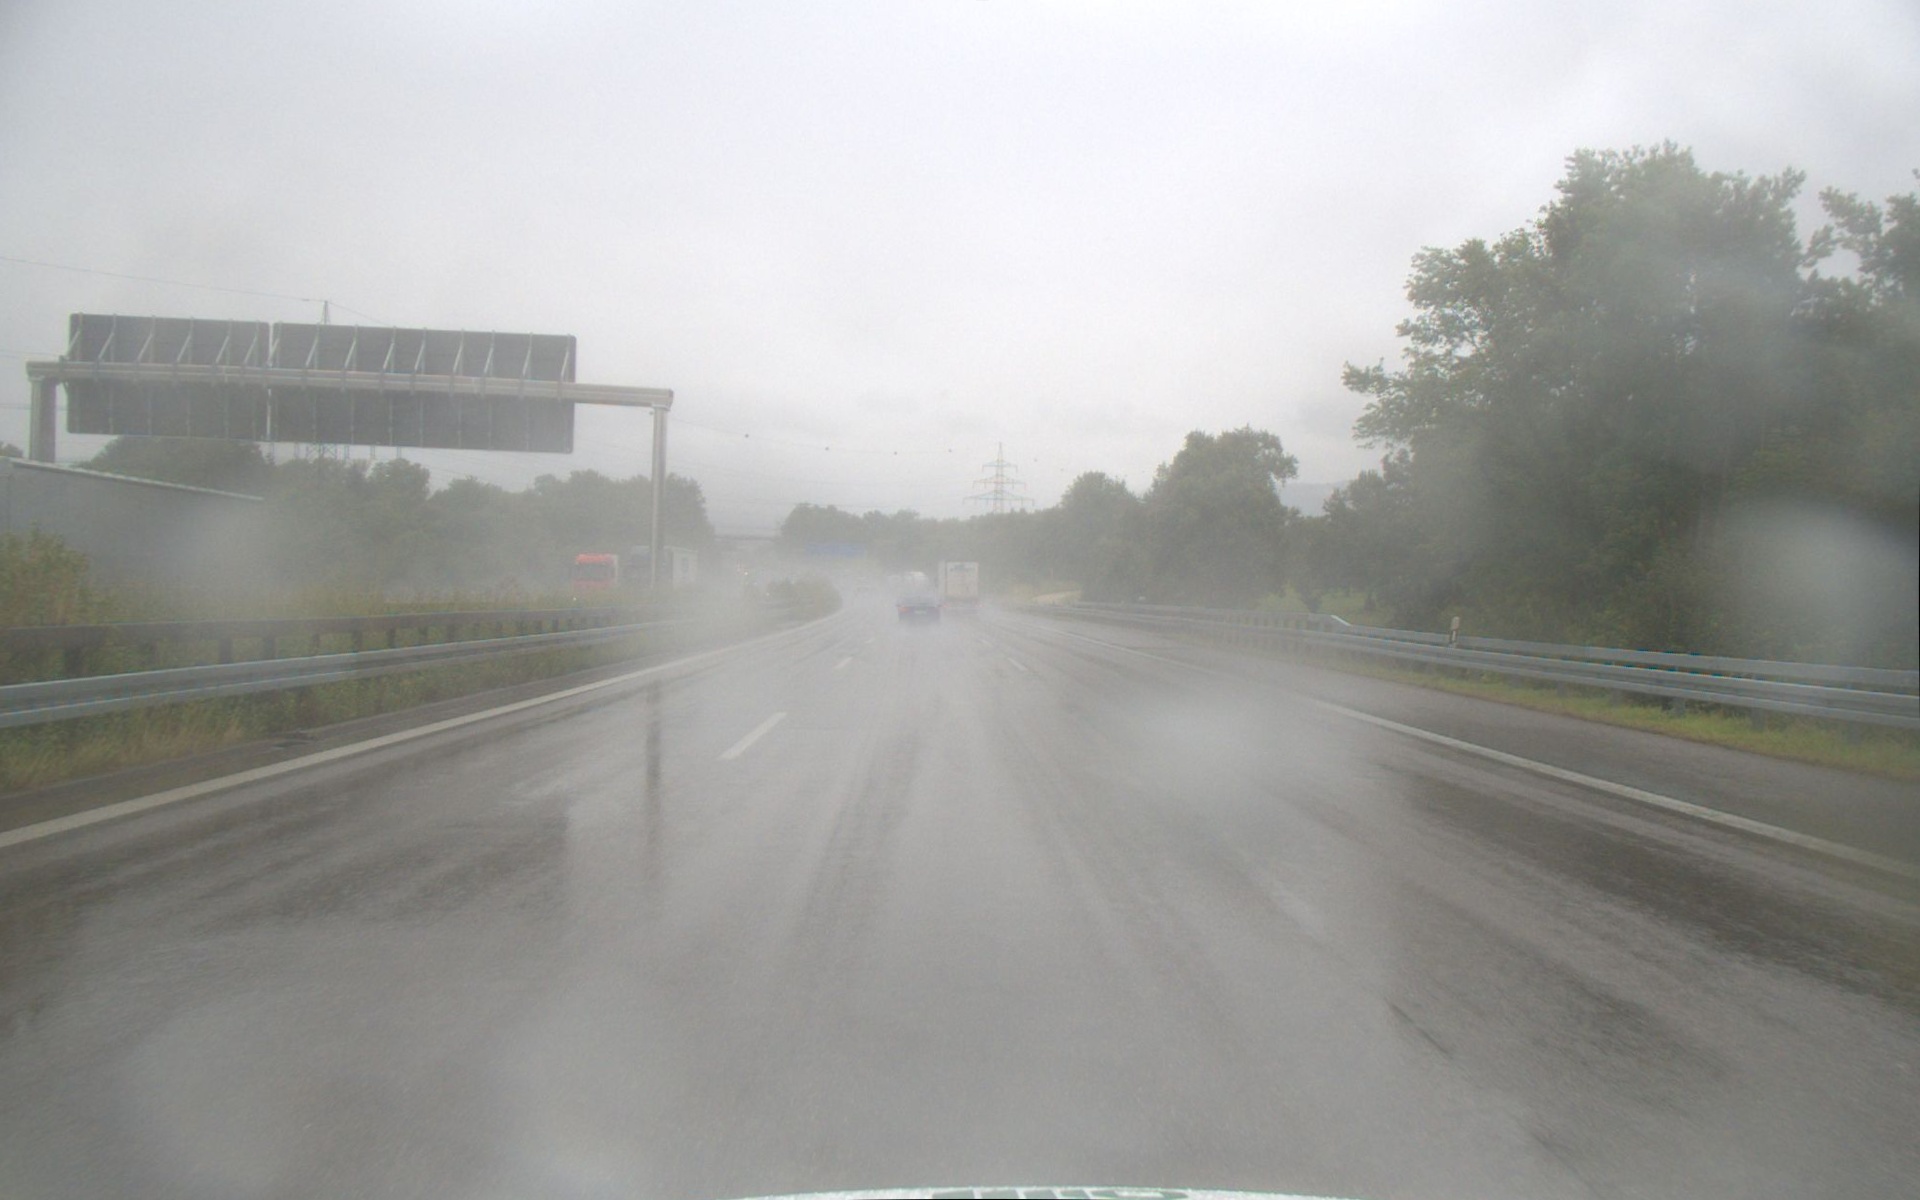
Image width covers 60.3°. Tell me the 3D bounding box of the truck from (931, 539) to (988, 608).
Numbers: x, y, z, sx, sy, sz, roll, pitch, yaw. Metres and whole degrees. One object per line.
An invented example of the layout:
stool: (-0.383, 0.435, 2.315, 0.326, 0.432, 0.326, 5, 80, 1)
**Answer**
truck: (-0.003, -2.075, 129.492, 4.169, 5.058, 17.341, 0, 1, 0)

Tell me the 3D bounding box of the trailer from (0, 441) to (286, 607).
trailer: (-20.924, -1.727, 41.676, 2.619, 3.467, 13.444, 2, 1, -2)

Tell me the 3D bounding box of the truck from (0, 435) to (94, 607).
truck: (-20.769, -1.649, 34.380, 2.613, 3.476, 5.526, 2, 1, -2)

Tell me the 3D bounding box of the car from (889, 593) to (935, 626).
car: (-1.984, 0.391, 69.768, 1.713, 1.233, 4.001, 3, 1, 1)
